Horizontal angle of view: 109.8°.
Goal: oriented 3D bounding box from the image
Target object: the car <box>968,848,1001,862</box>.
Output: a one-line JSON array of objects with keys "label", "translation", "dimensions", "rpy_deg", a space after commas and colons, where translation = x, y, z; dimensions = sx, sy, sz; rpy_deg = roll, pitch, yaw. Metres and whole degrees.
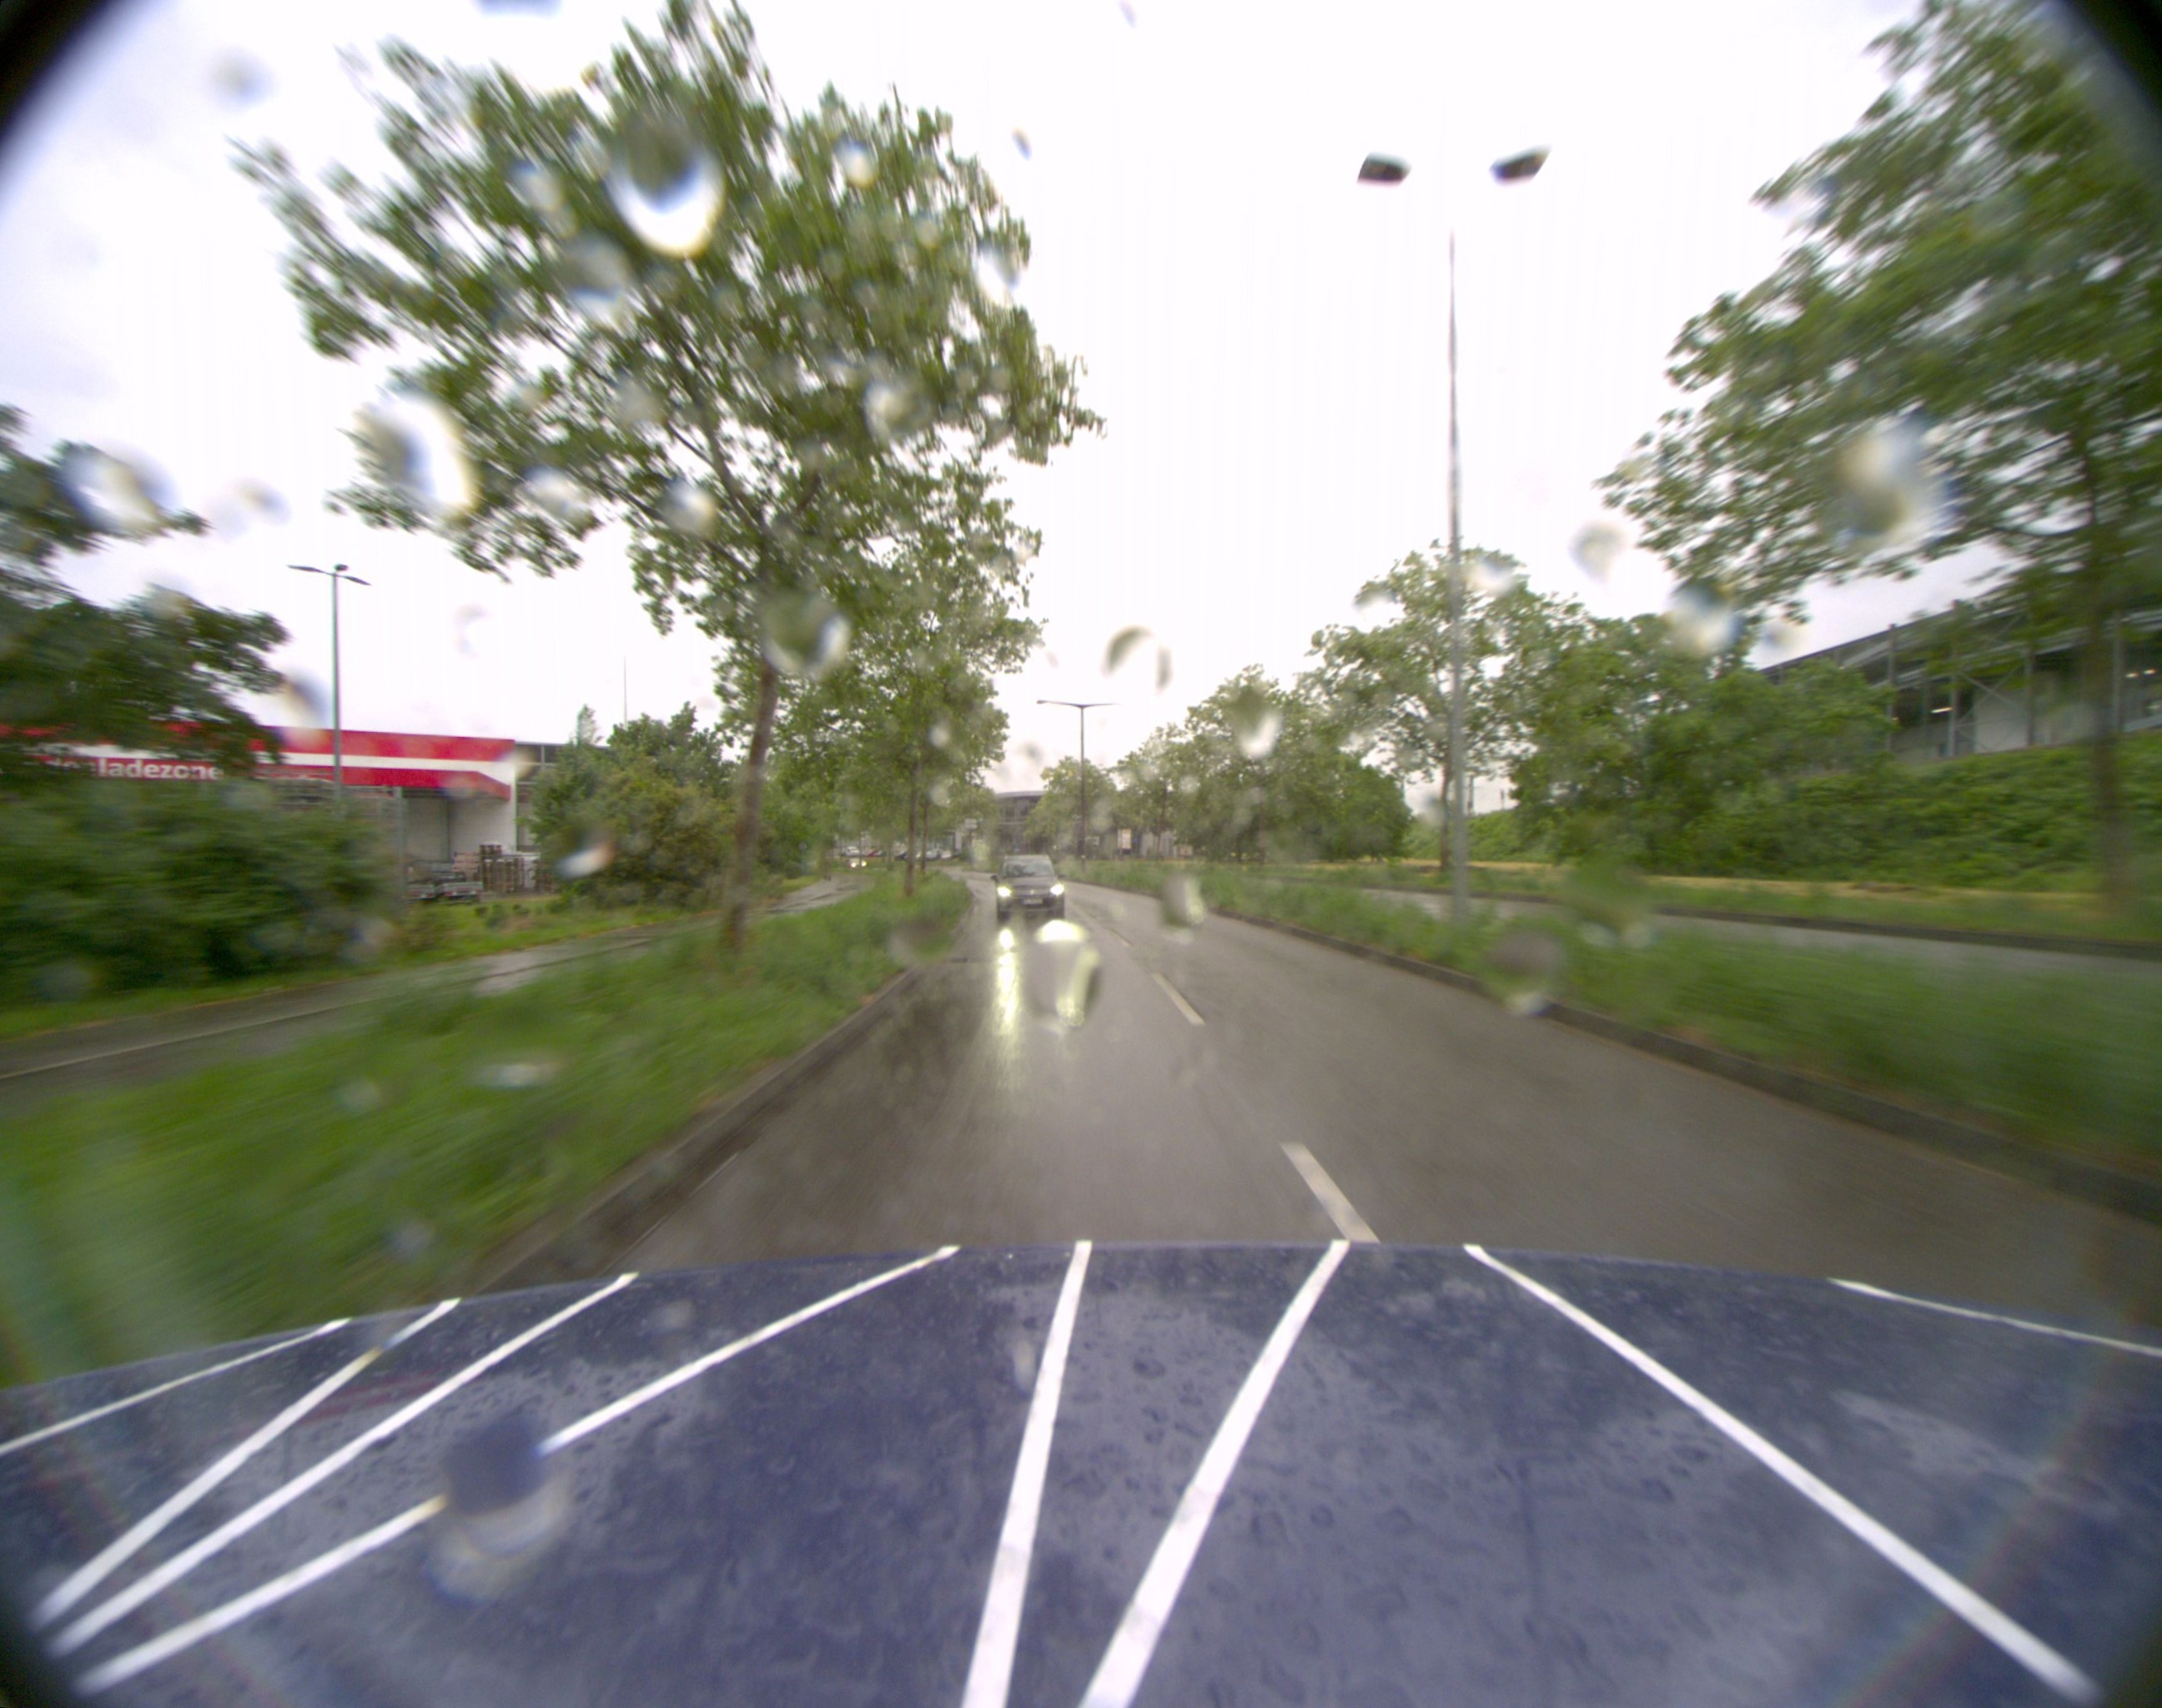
[{"label": "car", "translation": [-12.819, 0.171, 100.990], "dimensions": [4.007, 1.650, 1.860], "rpy_deg": [-4, 2, -44]}]

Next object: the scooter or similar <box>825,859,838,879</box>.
[{"label": "scooter or similar", "translation": [-16.324, 0.954, 49.661], "dimensions": [0.452, 1.267, 1.597], "rpy_deg": [-2, 1, -30]}]

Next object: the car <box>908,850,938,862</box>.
[{"label": "car", "translation": [-23.870, 0.253, 114.630], "dimensions": [4.007, 1.650, 1.860], "rpy_deg": [-4, 2, -44]}]

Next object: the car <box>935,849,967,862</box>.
[{"label": "car", "translation": [-18.435, 0.203, 107.750], "dimensions": [4.007, 1.650, 1.860], "rpy_deg": [-4, 2, -44]}]

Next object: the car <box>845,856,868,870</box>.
[{"label": "car", "translation": [-28.908, 1.109, 97.805], "dimensions": [2.003, 1.641, 3.991], "rpy_deg": [-2, 1, -29]}]

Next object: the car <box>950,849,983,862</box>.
[{"label": "car", "translation": [-15.654, 0.212, 103.951], "dimensions": [4.007, 1.650, 1.860], "rpy_deg": [-4, 2, -44]}]

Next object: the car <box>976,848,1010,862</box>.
[{"label": "car", "translation": [-11.496, 0.154, 99.523], "dimensions": [4.007, 1.650, 1.860], "rpy_deg": [-4, 2, -44]}]

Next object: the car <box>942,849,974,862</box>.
[{"label": "car", "translation": [-17.170, 0.199, 105.838], "dimensions": [4.007, 1.650, 1.860], "rpy_deg": [-4, 2, -44]}]

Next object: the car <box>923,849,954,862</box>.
[{"label": "car", "translation": [-20.940, 0.214, 111.449], "dimensions": [4.007, 1.650, 1.860], "rpy_deg": [-4, 2, -44]}]

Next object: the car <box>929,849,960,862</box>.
[{"label": "car", "translation": [-19.627, 0.206, 109.589], "dimensions": [4.007, 1.650, 1.860], "rpy_deg": [-4, 2, -44]}]

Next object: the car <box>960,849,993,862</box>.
[{"label": "car", "translation": [-14.125, 0.188, 102.457], "dimensions": [4.007, 1.650, 1.860], "rpy_deg": [-4, 2, -44]}]

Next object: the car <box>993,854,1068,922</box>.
[{"label": "car", "translation": [-1.558, 0.851, 21.663], "dimensions": [1.789, 1.605, 4.713], "rpy_deg": [-3, 1, -7]}]
